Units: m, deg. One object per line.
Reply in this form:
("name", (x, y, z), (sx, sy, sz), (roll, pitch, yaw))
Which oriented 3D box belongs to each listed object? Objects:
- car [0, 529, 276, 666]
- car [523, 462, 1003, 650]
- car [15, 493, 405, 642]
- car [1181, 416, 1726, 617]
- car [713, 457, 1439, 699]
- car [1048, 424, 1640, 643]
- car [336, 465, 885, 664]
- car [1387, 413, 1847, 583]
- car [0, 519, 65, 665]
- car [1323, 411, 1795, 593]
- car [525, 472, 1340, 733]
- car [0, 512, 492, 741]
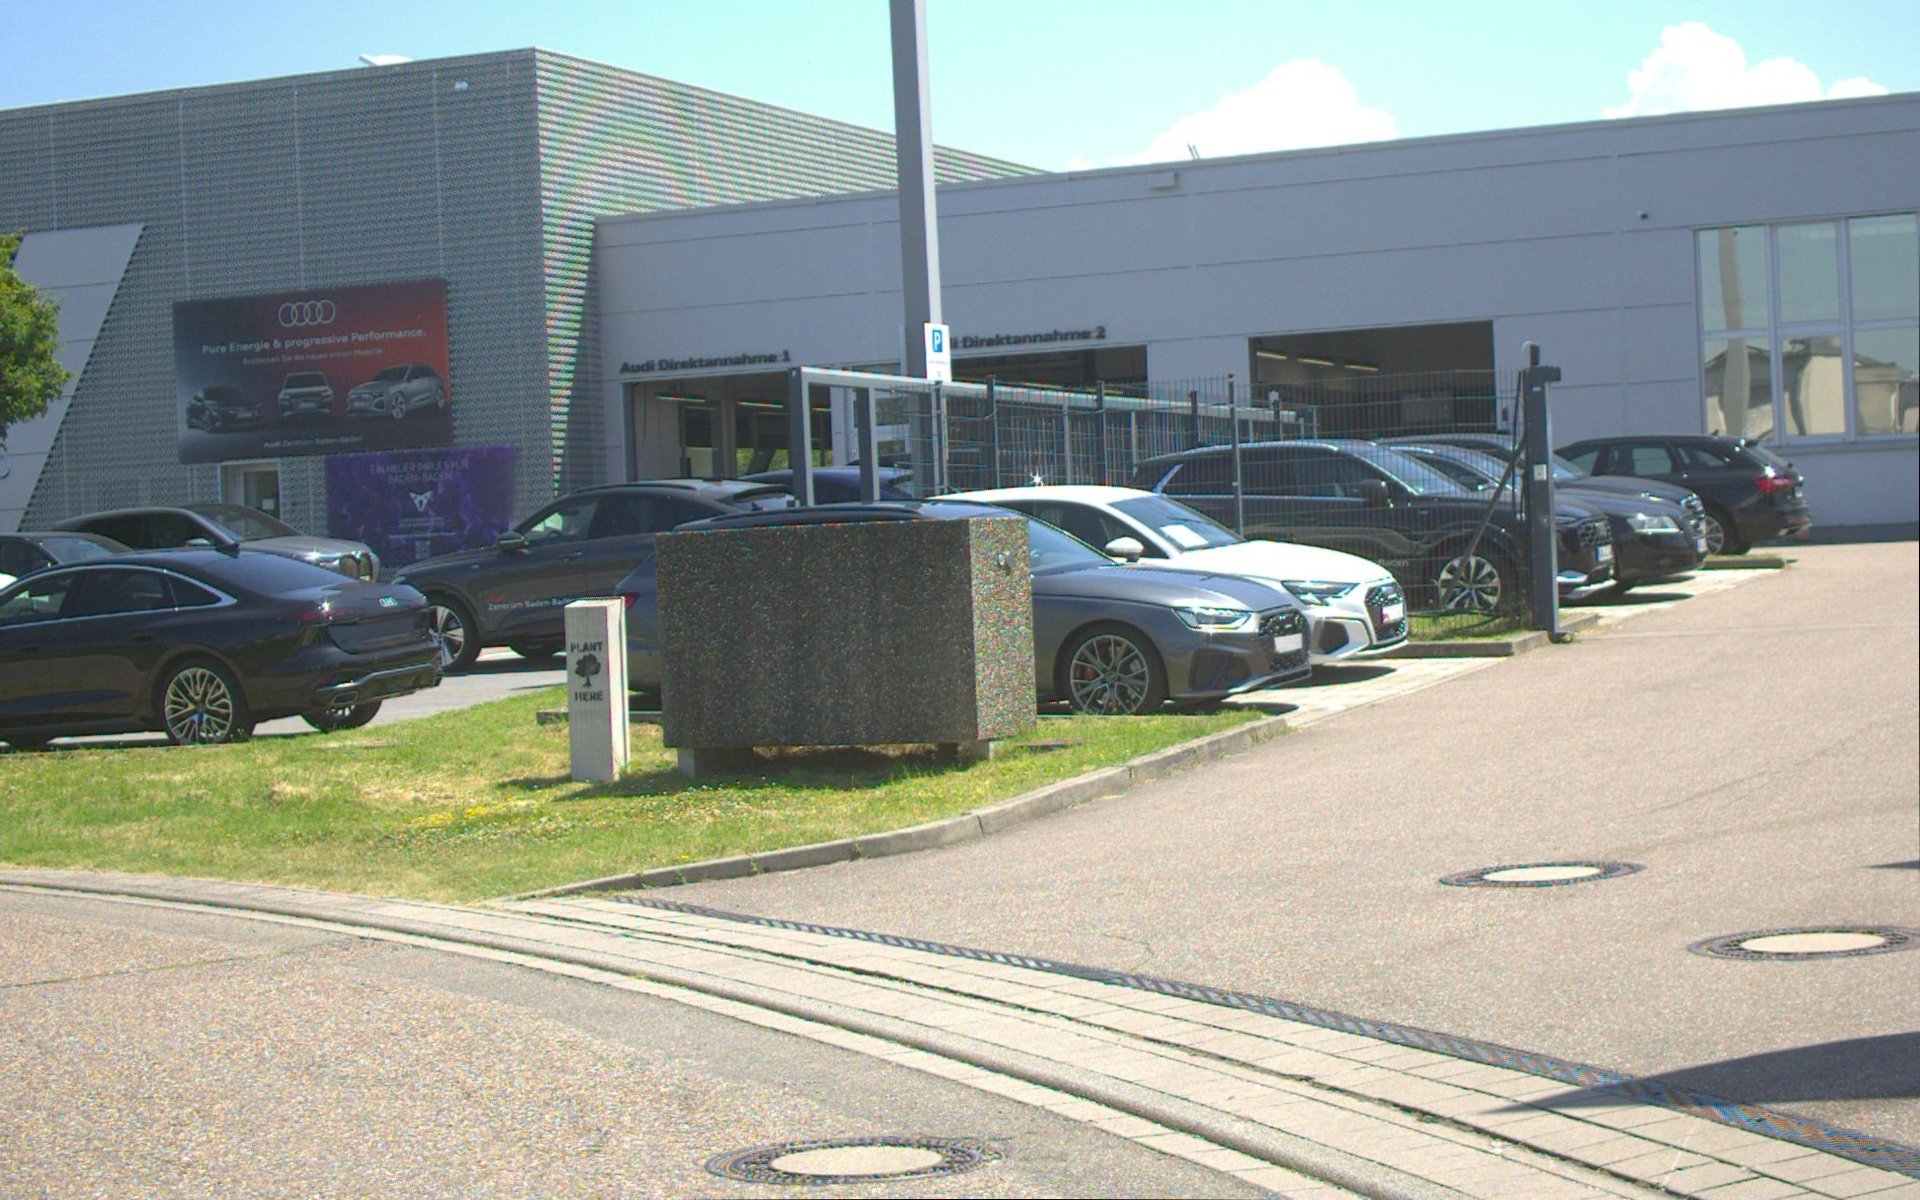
("car", (-10.742, -0.009, 41.727), (4.363, 1.471, 1.966), (-2, 2, 23))
("car", (-1.984, -0.433, 34.582), (4.407, 1.688, 1.828), (-2, 1, 23))
("car", (-9.974, -0.433, 45.717), (4.719, 1.733, 1.966), (-2, 2, 23))
("car", (4.601, -0.780, 32.058), (4.616, 1.624, 1.966), (-2, 2, 23))
("car", (0.839, -0.155, 25.224), (4.934, 1.523, 1.823), (-2, 2, 23))
("car", (3.296, -0.570, 29.512), (4.616, 1.624, 1.966), (-2, 2, 23))
("car", (-3.283, -0.320, 32.211), (4.776, 1.638, 1.828), (-2, 1, 23))
("car", (7.256, -1.121, 37.977), (4.616, 1.624, 1.966), (-2, 2, 23))
("car", (-12.727, -0.014, 39.634), (4.279, 1.607, 1.966), (-2, 2, 23))
("car", (6.142, -1.003, 35.222), (4.368, 1.624, 1.966), (-2, 2, 23))
("car", (-0.187, 0.020, 22.658), (4.934, 1.462, 1.966), (-2, 2, 23))
("car", (-6.143, 0.214, 25.364), (5.013, 1.449, 1.883), (-2, 3, 23))
